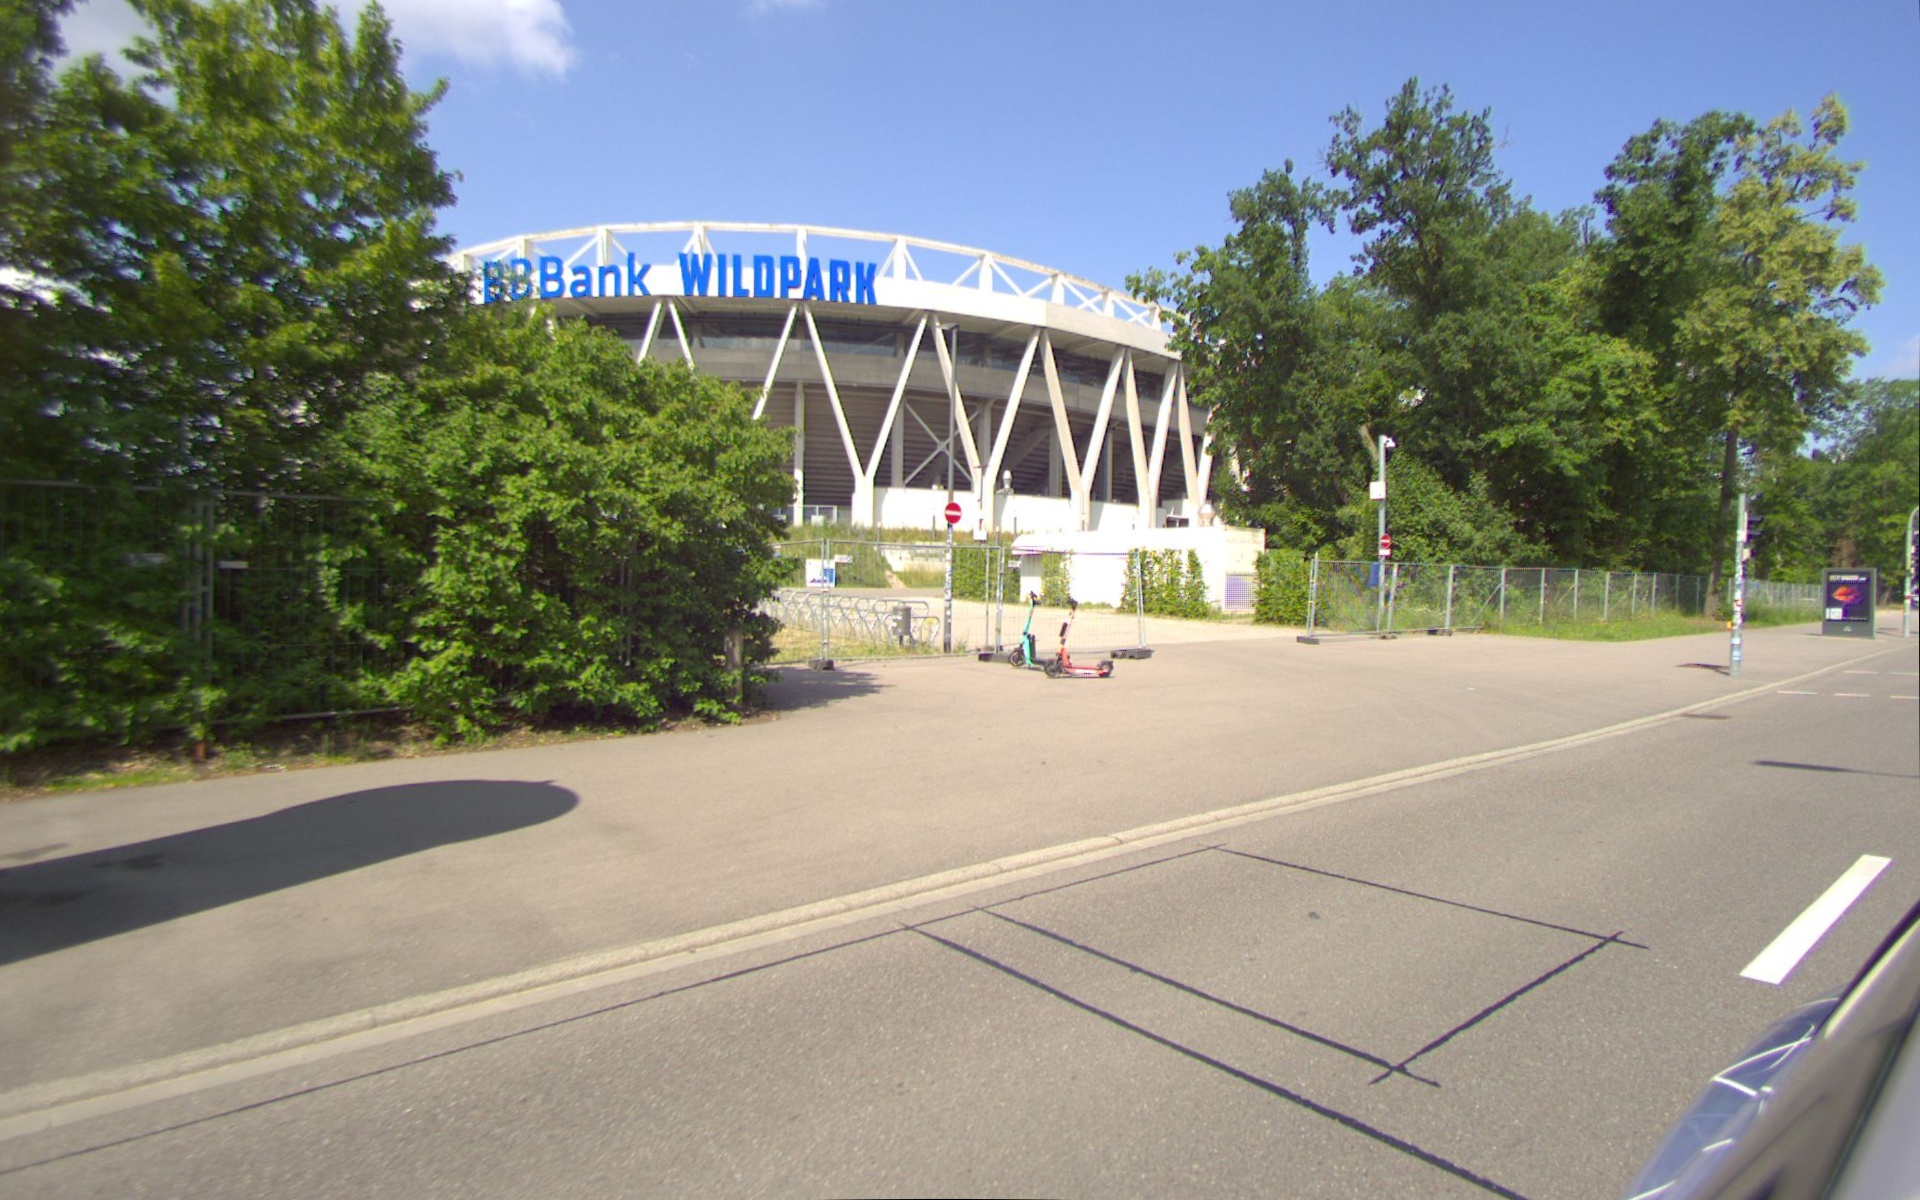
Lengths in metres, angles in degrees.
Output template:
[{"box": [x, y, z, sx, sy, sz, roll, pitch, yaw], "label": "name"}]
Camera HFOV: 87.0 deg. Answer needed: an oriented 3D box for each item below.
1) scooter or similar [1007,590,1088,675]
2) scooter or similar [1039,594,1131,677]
[{"box": [1.375, 0.486, 16.079, 1.307, 1.267, 0.401, 2, 1, 43], "label": "scooter or similar"}, {"box": [1.899, 0.535, 15.381, 1.284, 1.215, 0.408, 1, 1, -14], "label": "scooter or similar"}]
